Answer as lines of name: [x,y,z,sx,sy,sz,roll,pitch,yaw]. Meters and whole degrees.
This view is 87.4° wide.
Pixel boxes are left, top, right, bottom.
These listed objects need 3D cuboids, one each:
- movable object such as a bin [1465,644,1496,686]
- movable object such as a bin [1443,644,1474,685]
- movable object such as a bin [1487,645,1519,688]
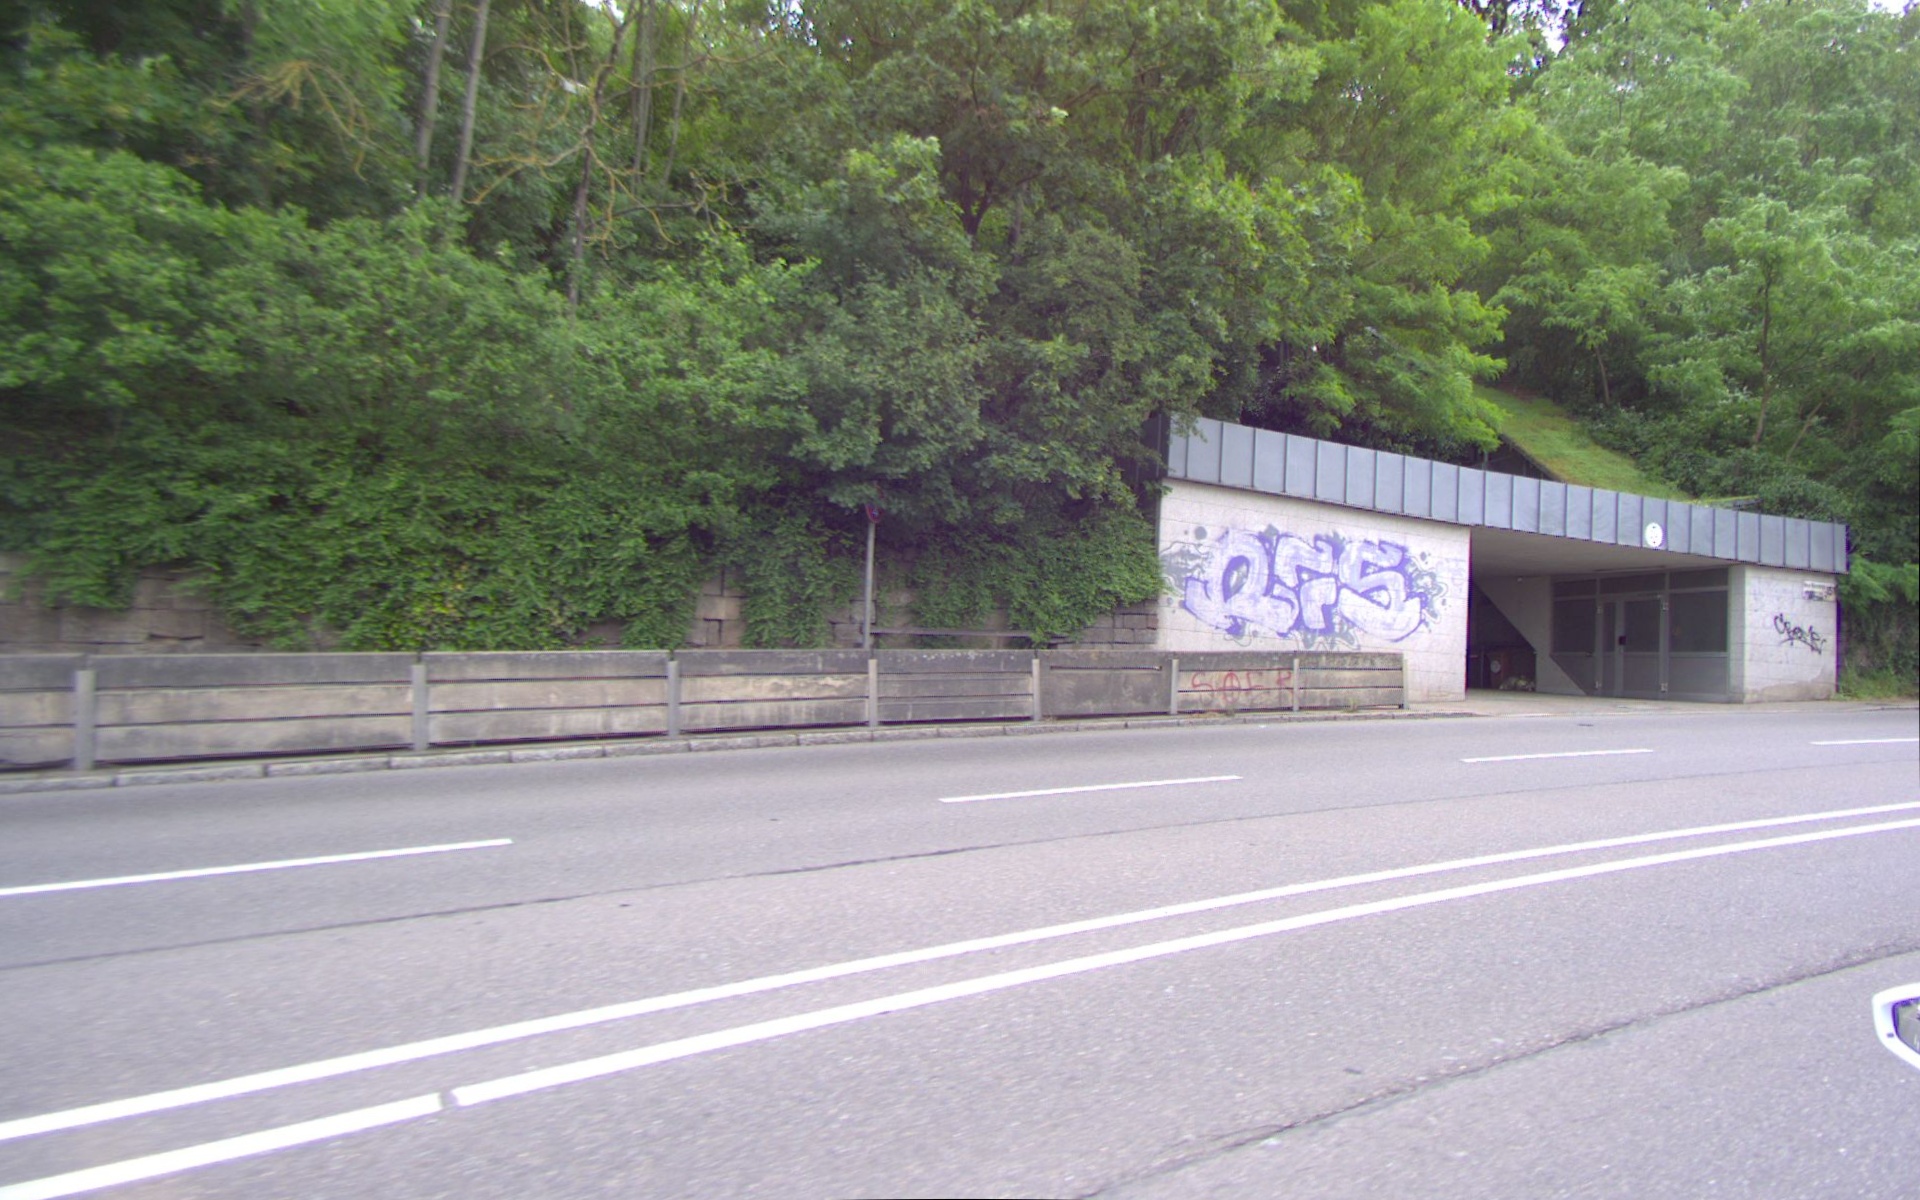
movable object such as a bin: [13.034,1.624,25.163,0.500,1.010,0.428,2,1,-8]
movable object such as a bin: [12.820,1.652,25.826,0.470,1.010,0.497,2,1,-8]
movable object such as a bin: [13.351,1.639,24.703,0.489,1.010,0.428,2,1,-8]
